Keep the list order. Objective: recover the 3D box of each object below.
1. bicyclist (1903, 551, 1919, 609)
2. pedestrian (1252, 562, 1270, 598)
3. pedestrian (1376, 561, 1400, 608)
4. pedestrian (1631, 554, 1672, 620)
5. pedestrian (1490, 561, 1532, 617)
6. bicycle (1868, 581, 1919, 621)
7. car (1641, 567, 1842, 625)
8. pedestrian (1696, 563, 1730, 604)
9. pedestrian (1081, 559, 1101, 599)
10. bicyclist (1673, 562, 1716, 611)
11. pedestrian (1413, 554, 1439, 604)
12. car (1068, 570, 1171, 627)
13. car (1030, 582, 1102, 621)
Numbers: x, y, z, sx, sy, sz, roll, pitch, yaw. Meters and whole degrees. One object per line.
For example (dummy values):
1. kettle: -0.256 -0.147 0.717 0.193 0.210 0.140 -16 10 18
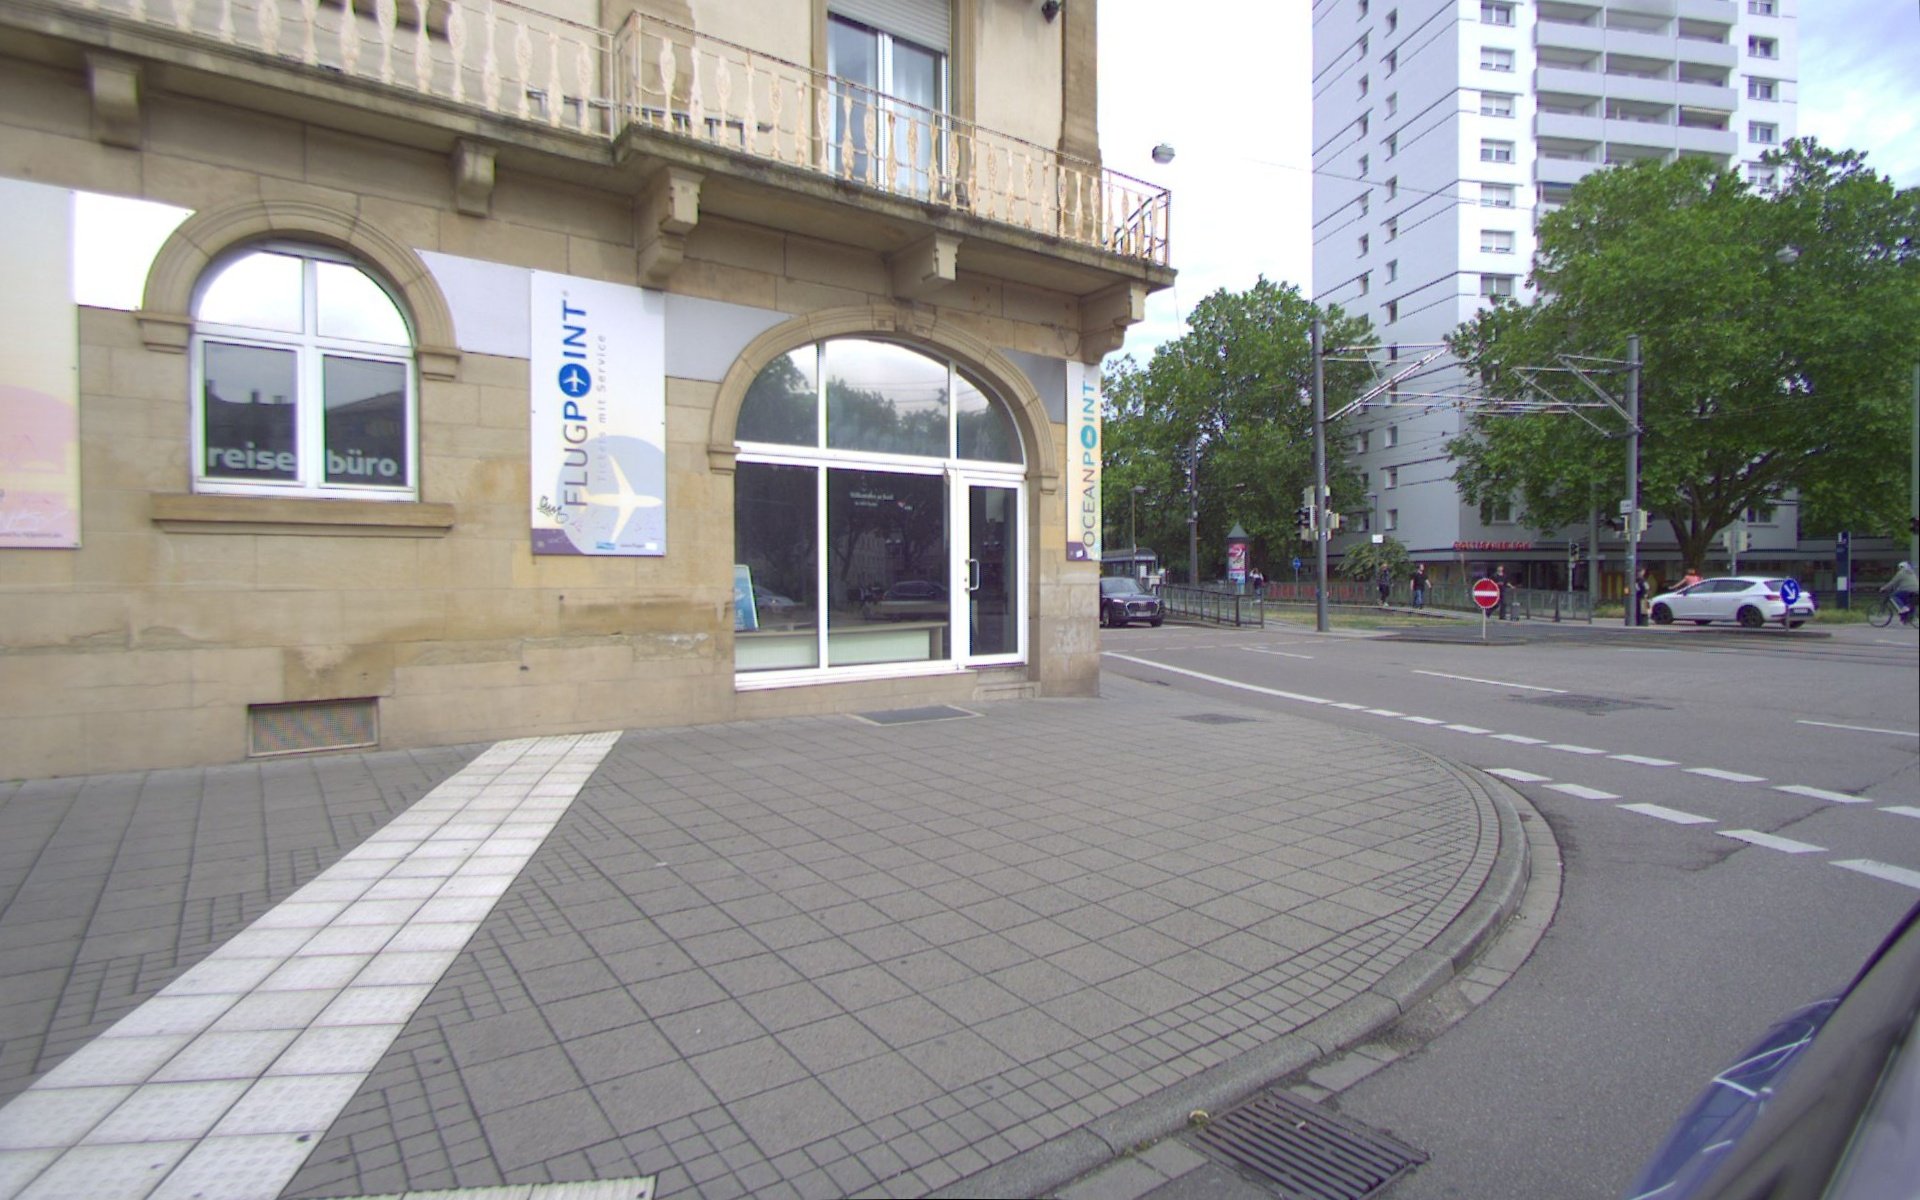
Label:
1. bicyclist: 26.487 -0.552 27.718 0.573 1.582 0.758 1 0 -11
2. pedestrian: 14.699 -0.979 49.377 0.610 1.689 0.566 -2 1 -11
3. pedestrian: 16.651 -0.614 39.396 0.610 1.812 0.535 -2 1 -11
4. pedestrian: 19.177 -0.364 28.060 0.643 1.772 0.628 -2 1 -9
5. pedestrian: 17.393 -0.353 31.979 0.728 1.716 0.880 -2 1 -11
6. bicycle: 26.452 0.027 27.948 0.714 1.077 1.996 1 1 -11
7. car: 22.278 -0.152 29.086 1.810 1.466 4.422 -2 1 -11
8. pedestrian: 28.842 -0.621 38.762 0.543 1.527 0.855 -2 1 -15
9. pedestrian: 5.783 -0.926 44.700 0.649 1.773 0.535 -2 1 -11
10. bicyclist: 25.338 -0.455 34.931 0.693 1.658 0.996 1 0 -12
11. pedestrian: 16.791 -0.744 36.465 0.610 1.773 0.549 -2 1 -11
12. car: 5.133 -0.087 33.242 1.878 1.667 4.376 -2 1 -11
13. car: 4.053 0.022 39.388 1.604 1.392 4.021 -2 1 -11
